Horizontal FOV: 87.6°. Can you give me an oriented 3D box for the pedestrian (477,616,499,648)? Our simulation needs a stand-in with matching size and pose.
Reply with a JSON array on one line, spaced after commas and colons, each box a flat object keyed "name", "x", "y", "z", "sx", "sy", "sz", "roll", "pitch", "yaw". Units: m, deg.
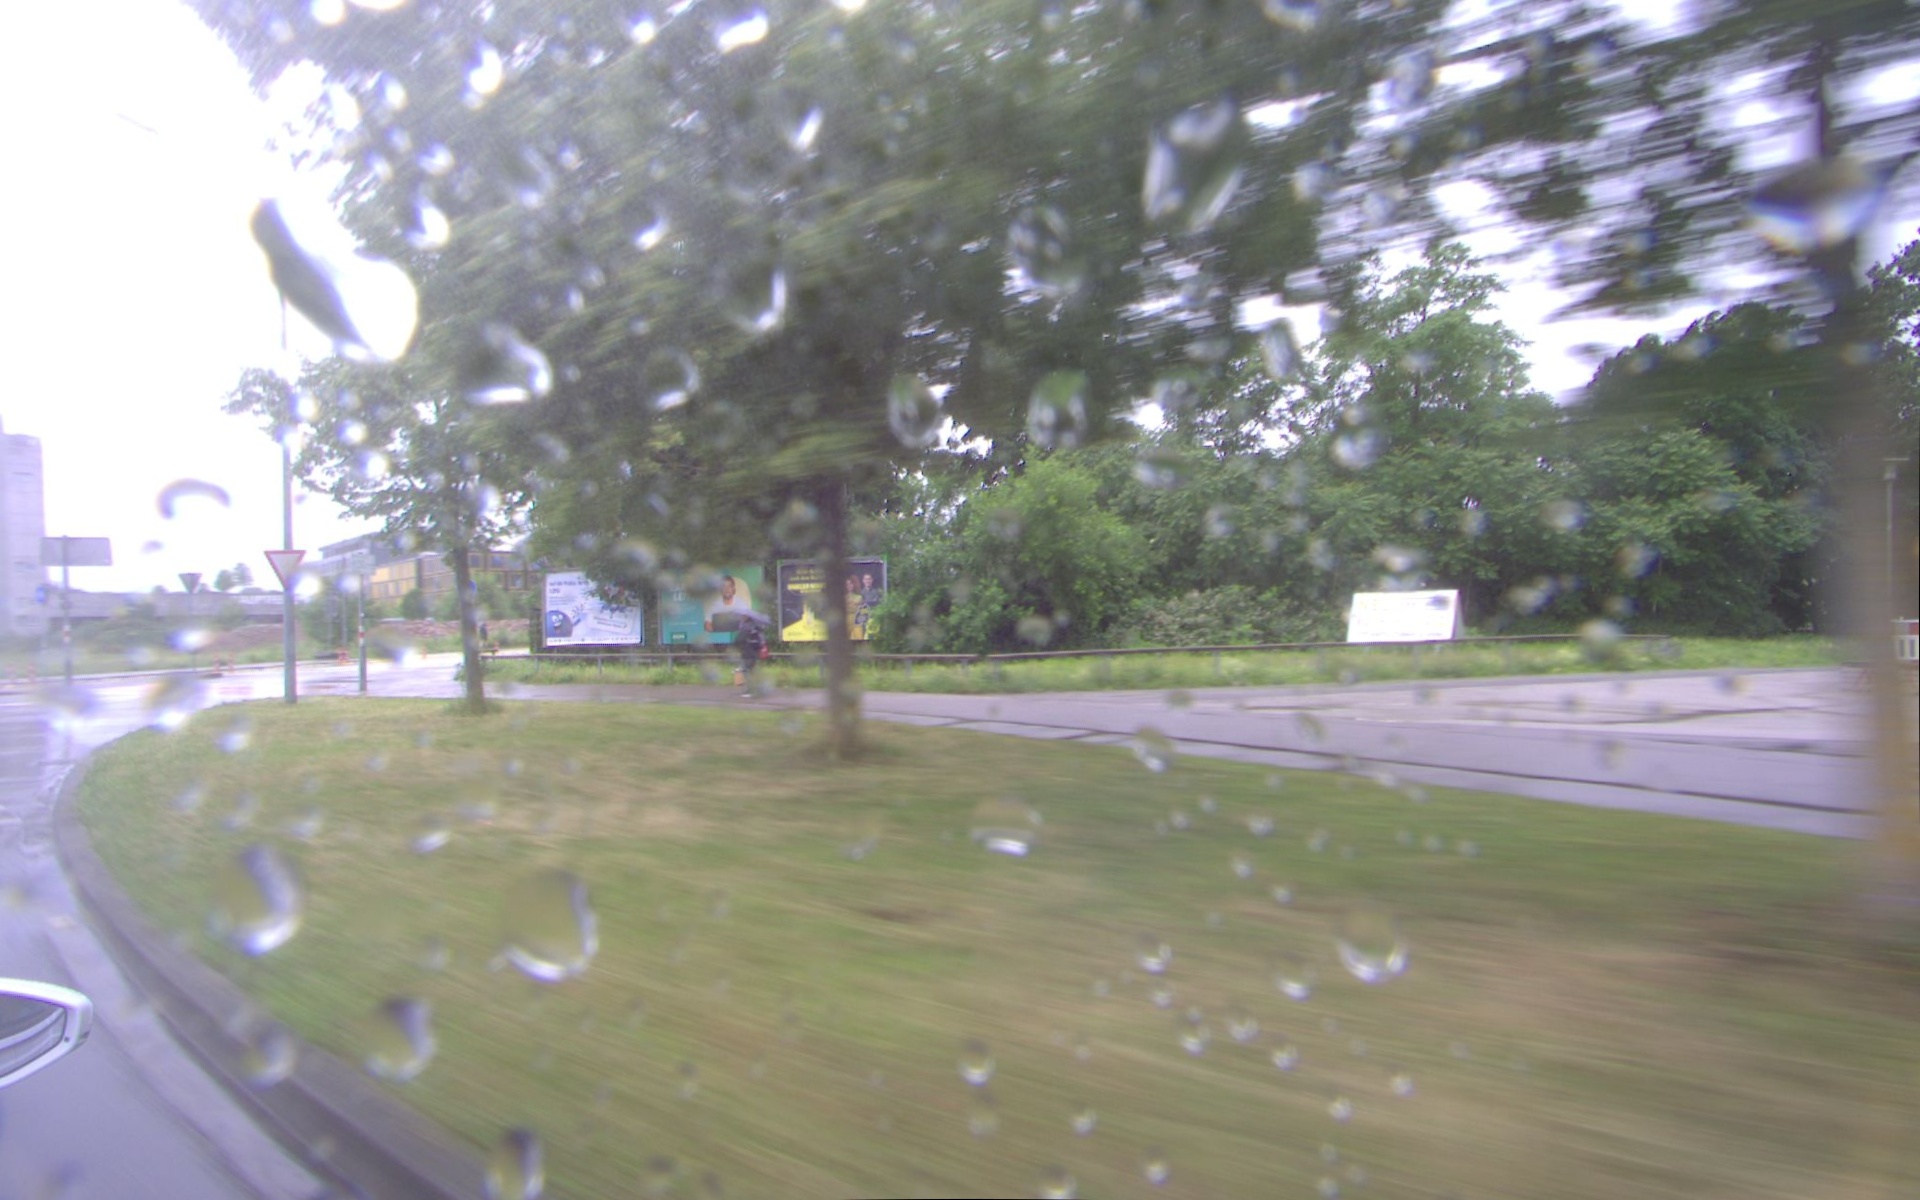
[{"name": "pedestrian", "x": -30.915, "y": 2.132, "z": 65.589, "sx": 0.832, "sy": 2.038, "sz": 1.132, "roll": -1, "pitch": -3, "yaw": 6}]

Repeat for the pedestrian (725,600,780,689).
[{"name": "pedestrian", "x": -4.305, "y": 0.932, "z": 20.794, "sx": 0.911, "sy": 1.806, "sz": 0.804, "roll": 1, "pitch": -3, "yaw": -30}]

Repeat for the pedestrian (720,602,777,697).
[{"name": "pedestrian", "x": -4.184, "y": 0.982, "z": 19.783, "sx": 0.911, "sy": 1.806, "sz": 0.804, "roll": 1, "pitch": -3, "yaw": -30}]
